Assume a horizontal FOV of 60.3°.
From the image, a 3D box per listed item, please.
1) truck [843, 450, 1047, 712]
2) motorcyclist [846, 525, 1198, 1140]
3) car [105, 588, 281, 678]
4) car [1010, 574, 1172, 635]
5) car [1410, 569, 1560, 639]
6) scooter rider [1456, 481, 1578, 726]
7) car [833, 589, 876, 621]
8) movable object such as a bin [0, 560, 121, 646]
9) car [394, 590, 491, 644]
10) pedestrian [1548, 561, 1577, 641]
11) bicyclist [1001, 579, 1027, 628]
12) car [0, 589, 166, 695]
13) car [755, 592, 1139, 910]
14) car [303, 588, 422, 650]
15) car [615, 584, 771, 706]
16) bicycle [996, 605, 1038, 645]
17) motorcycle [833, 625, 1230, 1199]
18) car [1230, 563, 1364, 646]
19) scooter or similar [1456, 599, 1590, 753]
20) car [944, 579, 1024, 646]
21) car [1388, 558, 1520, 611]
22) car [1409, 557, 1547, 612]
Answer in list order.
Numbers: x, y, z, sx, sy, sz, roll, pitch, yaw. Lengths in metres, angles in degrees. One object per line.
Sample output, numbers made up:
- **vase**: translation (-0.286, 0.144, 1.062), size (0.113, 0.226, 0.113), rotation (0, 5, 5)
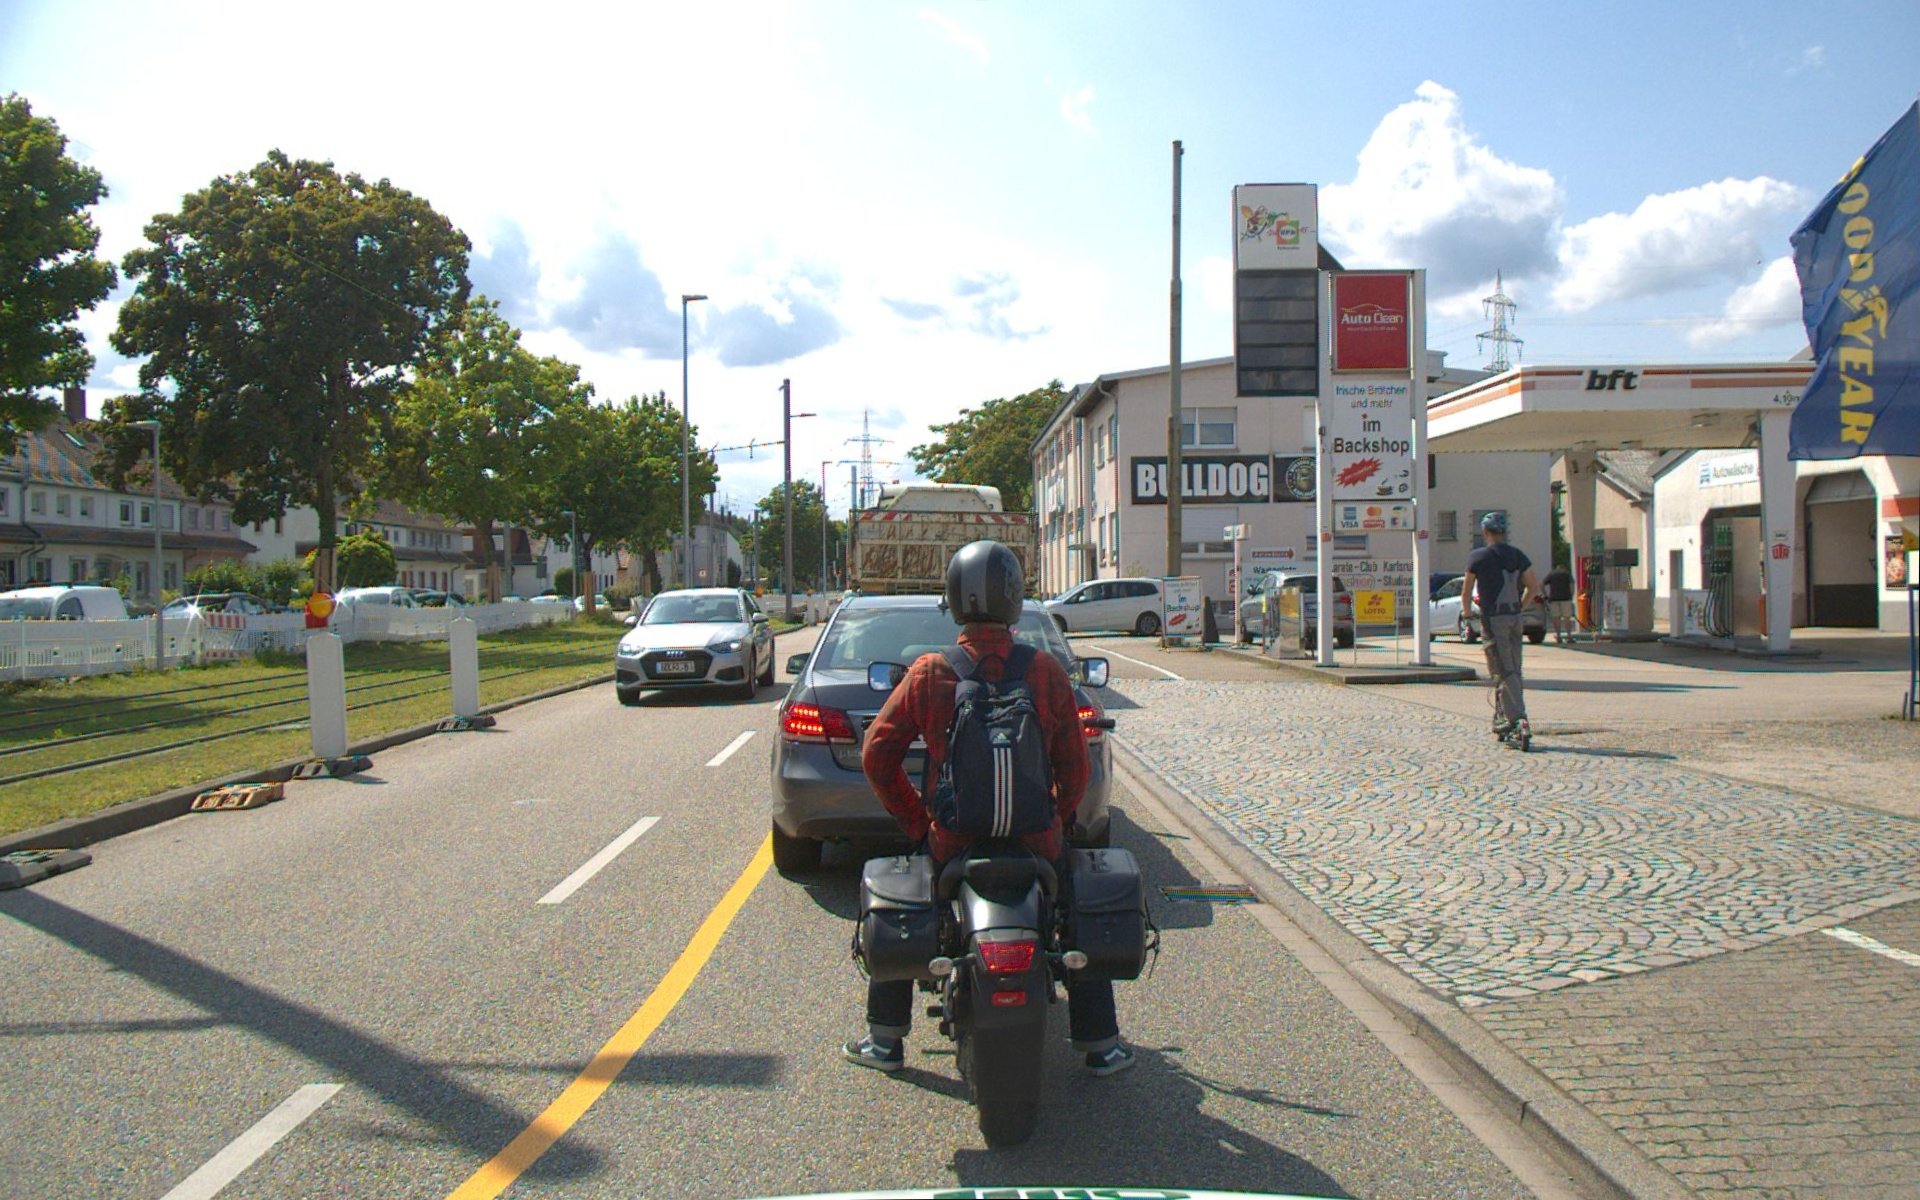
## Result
- **truck**: translation (-0.211, -0.374, 26.048), size (2.557, 3.312, 9.182), rotation (-2, 2, 0)
- **motorcyclist**: translation (0.160, 0.628, 5.066), size (0.920, 1.643, 1.204), rotation (1, 0, -1)
- **car**: translation (-16.516, 0.683, 35.839), size (1.953, 1.780, 3.999), rotation (-2, 0, -1)
- **car**: translation (3.706, 0.131, 47.253), size (4.250, 1.579, 1.946), rotation (-2, 0, -9)
- **car**: translation (11.802, 0.096, 37.454), size (1.920, 1.445, 3.998), rotation (-2, 0, -3)
- **scooter rider**: translation (4.722, 0.029, 14.061), size (0.702, 1.997, 0.785), rotation (-2, 0, -1)
- **car**: translation (-4.941, 0.242, 77.848), size (1.809, 1.411, 4.343), rotation (-2, 0, -1)
- **movable object such as a bin**: translation (-27.799, 0.079, 49.874), size (4.277, 2.492, 1.776), rotation (-1, 0, -23)
- **car**: translation (-17.098, 0.548, 54.851), size (1.953, 1.634, 3.999), rotation (-2, 0, -1)
- **pedestrian**: translation (13.056, 0.017, 35.835), size (0.388, 1.718, 0.485), rotation (-2, 0, 0)
- **bicyclist**: translation (1.975, 0.125, 60.821), size (0.658, 1.774, 0.813), rotation (-1, 0, 26)
- **car**: translation (-16.536, 0.742, 30.400), size (1.953, 1.780, 3.999), rotation (-2, 0, -1)
- **car**: translation (-0.086, 0.693, 9.717), size (1.784, 1.449, 3.999), rotation (0, 1, -1)
- **car**: translation (-16.973, 0.532, 47.207), size (1.953, 1.634, 3.999), rotation (-2, 0, -1)
- **car**: translation (-3.590, 0.536, 22.887), size (1.622, 1.472, 4.301), rotation (-2, 1, -3)
- **bicycle**: translation (2.111, 0.897, 61.020), size (0.679, 1.385, 2.418), rotation (-1, 1, 23)
- **motorcycle**: translation (0.152, 0.783, 5.247), size (0.920, 1.343, 2.644), rotation (1, 0, -1)
- **car**: translation (7.393, 0.103, 36.652), size (1.920, 1.677, 3.998), rotation (-2, 0, -3)
- **scooter or similar**: translation (4.739, 0.612, 14.018), size (0.529, 1.216, 1.610), rotation (-1, 0, -1)
- **car**: translation (0.531, 0.266, 38.924), size (1.784, 1.489, 4.000), rotation (0, 1, 0)
- **car**: translation (17.042, -0.517, 57.203), size (3.906, 1.677, 1.965), rotation (-2, 0, -2)
- **car**: translation (17.088, -0.499, 54.658), size (3.906, 1.677, 1.965), rotation (-2, 0, -2)
